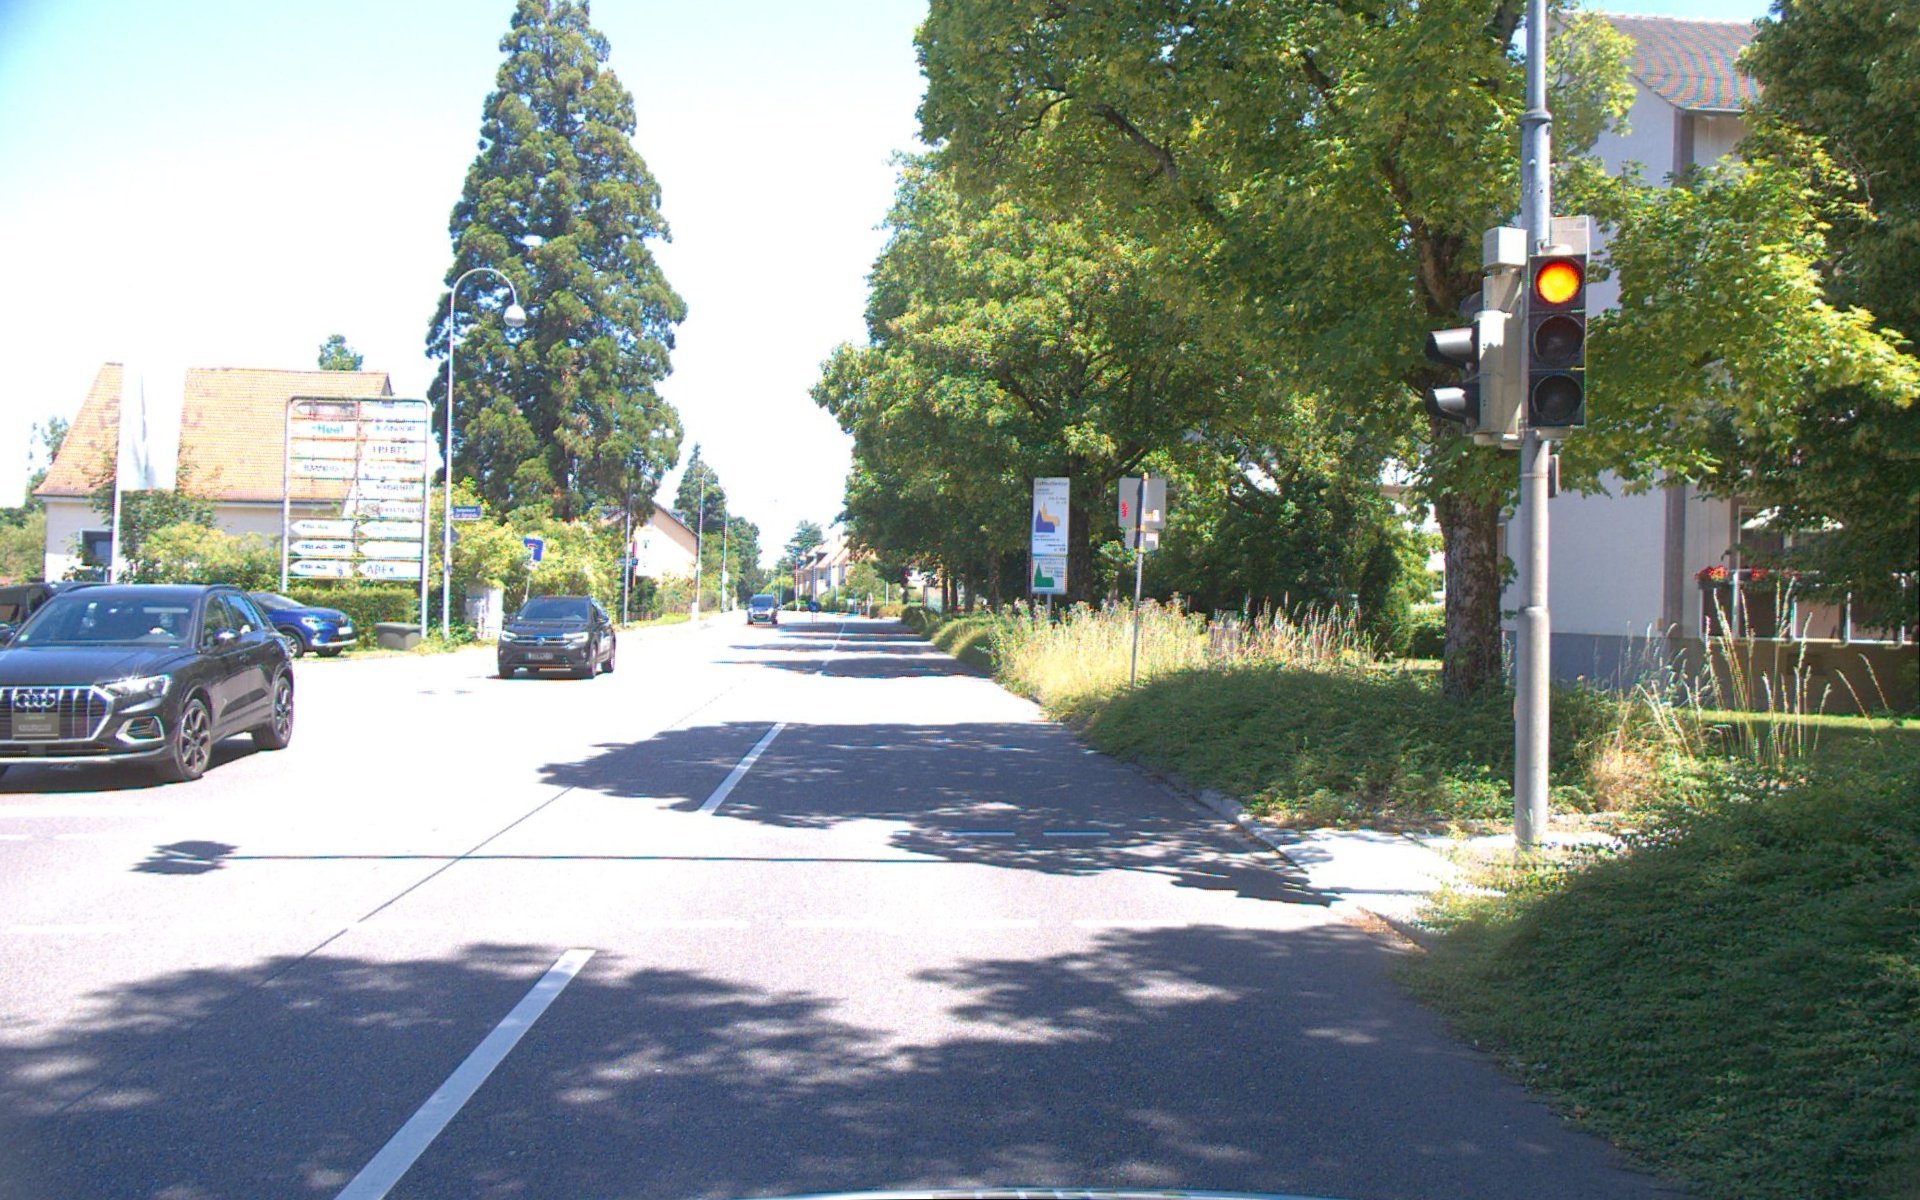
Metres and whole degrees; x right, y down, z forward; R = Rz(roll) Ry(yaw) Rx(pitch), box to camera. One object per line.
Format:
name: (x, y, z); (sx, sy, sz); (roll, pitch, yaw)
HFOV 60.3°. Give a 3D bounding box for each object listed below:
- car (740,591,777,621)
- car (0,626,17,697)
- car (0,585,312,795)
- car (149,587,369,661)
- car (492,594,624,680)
car: (-12.450, 0.353, 102.221); (1.774, 1.793, 4.569); (1, 0, -1)
car: (-24.689, 1.531, 40.081); (1.775, 1.752, 4.081); (1, 0, -8)
car: (-7.291, 0.679, 14.655); (1.890, 1.582, 4.295); (0, 0, -8)
car: (-15.201, 0.502, 35.942); (4.047, 1.531, 1.779); (0, 0, 8)
car: (-7.596, 0.667, 31.582); (1.832, 1.533, 4.049); (0, 0, -5)
